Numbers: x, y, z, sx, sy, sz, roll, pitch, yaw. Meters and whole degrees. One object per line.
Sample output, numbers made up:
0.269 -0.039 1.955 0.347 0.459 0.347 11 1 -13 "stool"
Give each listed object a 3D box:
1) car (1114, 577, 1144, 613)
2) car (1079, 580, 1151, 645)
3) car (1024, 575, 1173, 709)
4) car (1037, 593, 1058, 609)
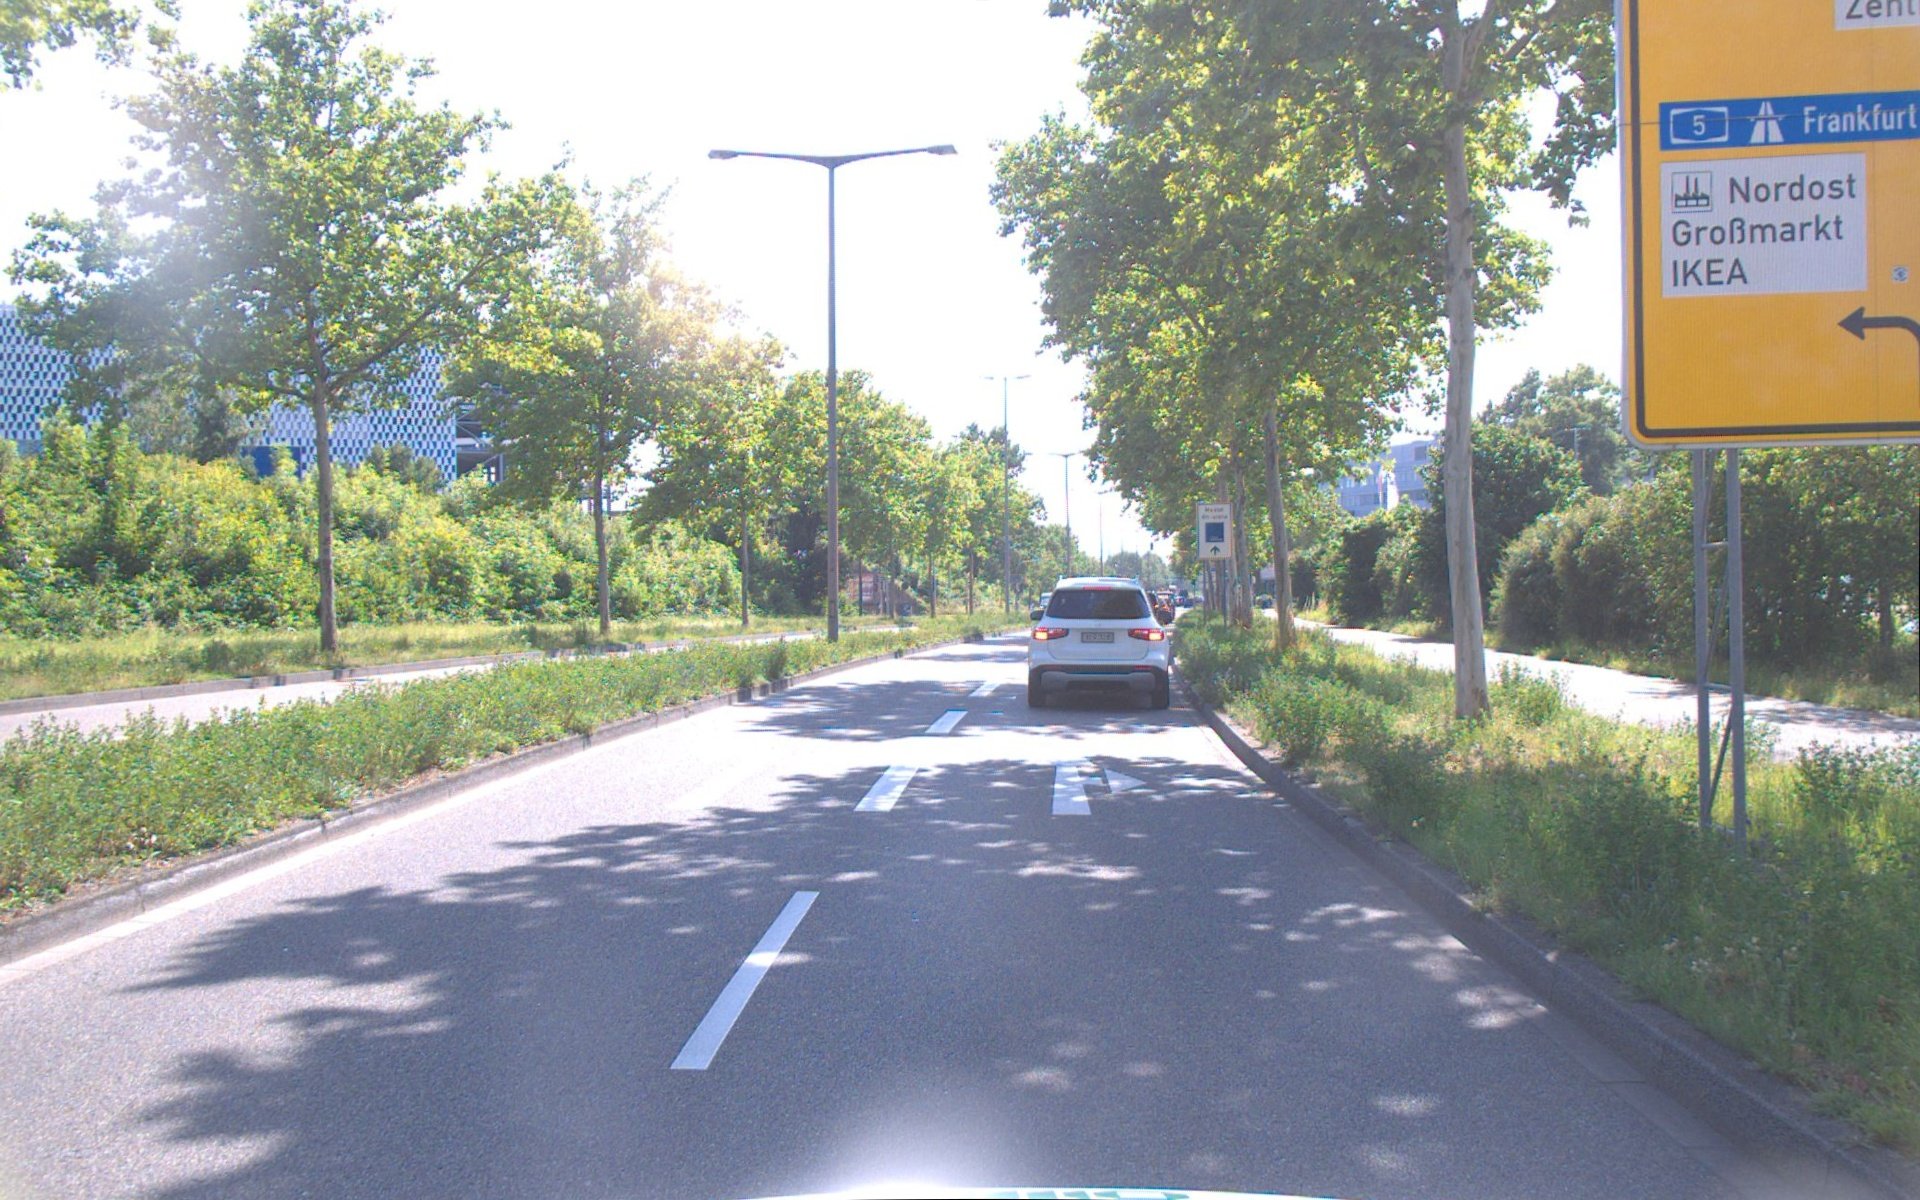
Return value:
13.273 -0.373 129.667 2.037 2.703 4.878 0 0 9 "car"
4.115 0.327 44.232 1.814 1.635 4.002 0 0 4 "car"
1.851 0.517 22.210 1.814 1.635 4.002 0 0 4 "car"
9.081 0.093 171.563 1.679 1.650 4.364 -1 0 9 "car"
